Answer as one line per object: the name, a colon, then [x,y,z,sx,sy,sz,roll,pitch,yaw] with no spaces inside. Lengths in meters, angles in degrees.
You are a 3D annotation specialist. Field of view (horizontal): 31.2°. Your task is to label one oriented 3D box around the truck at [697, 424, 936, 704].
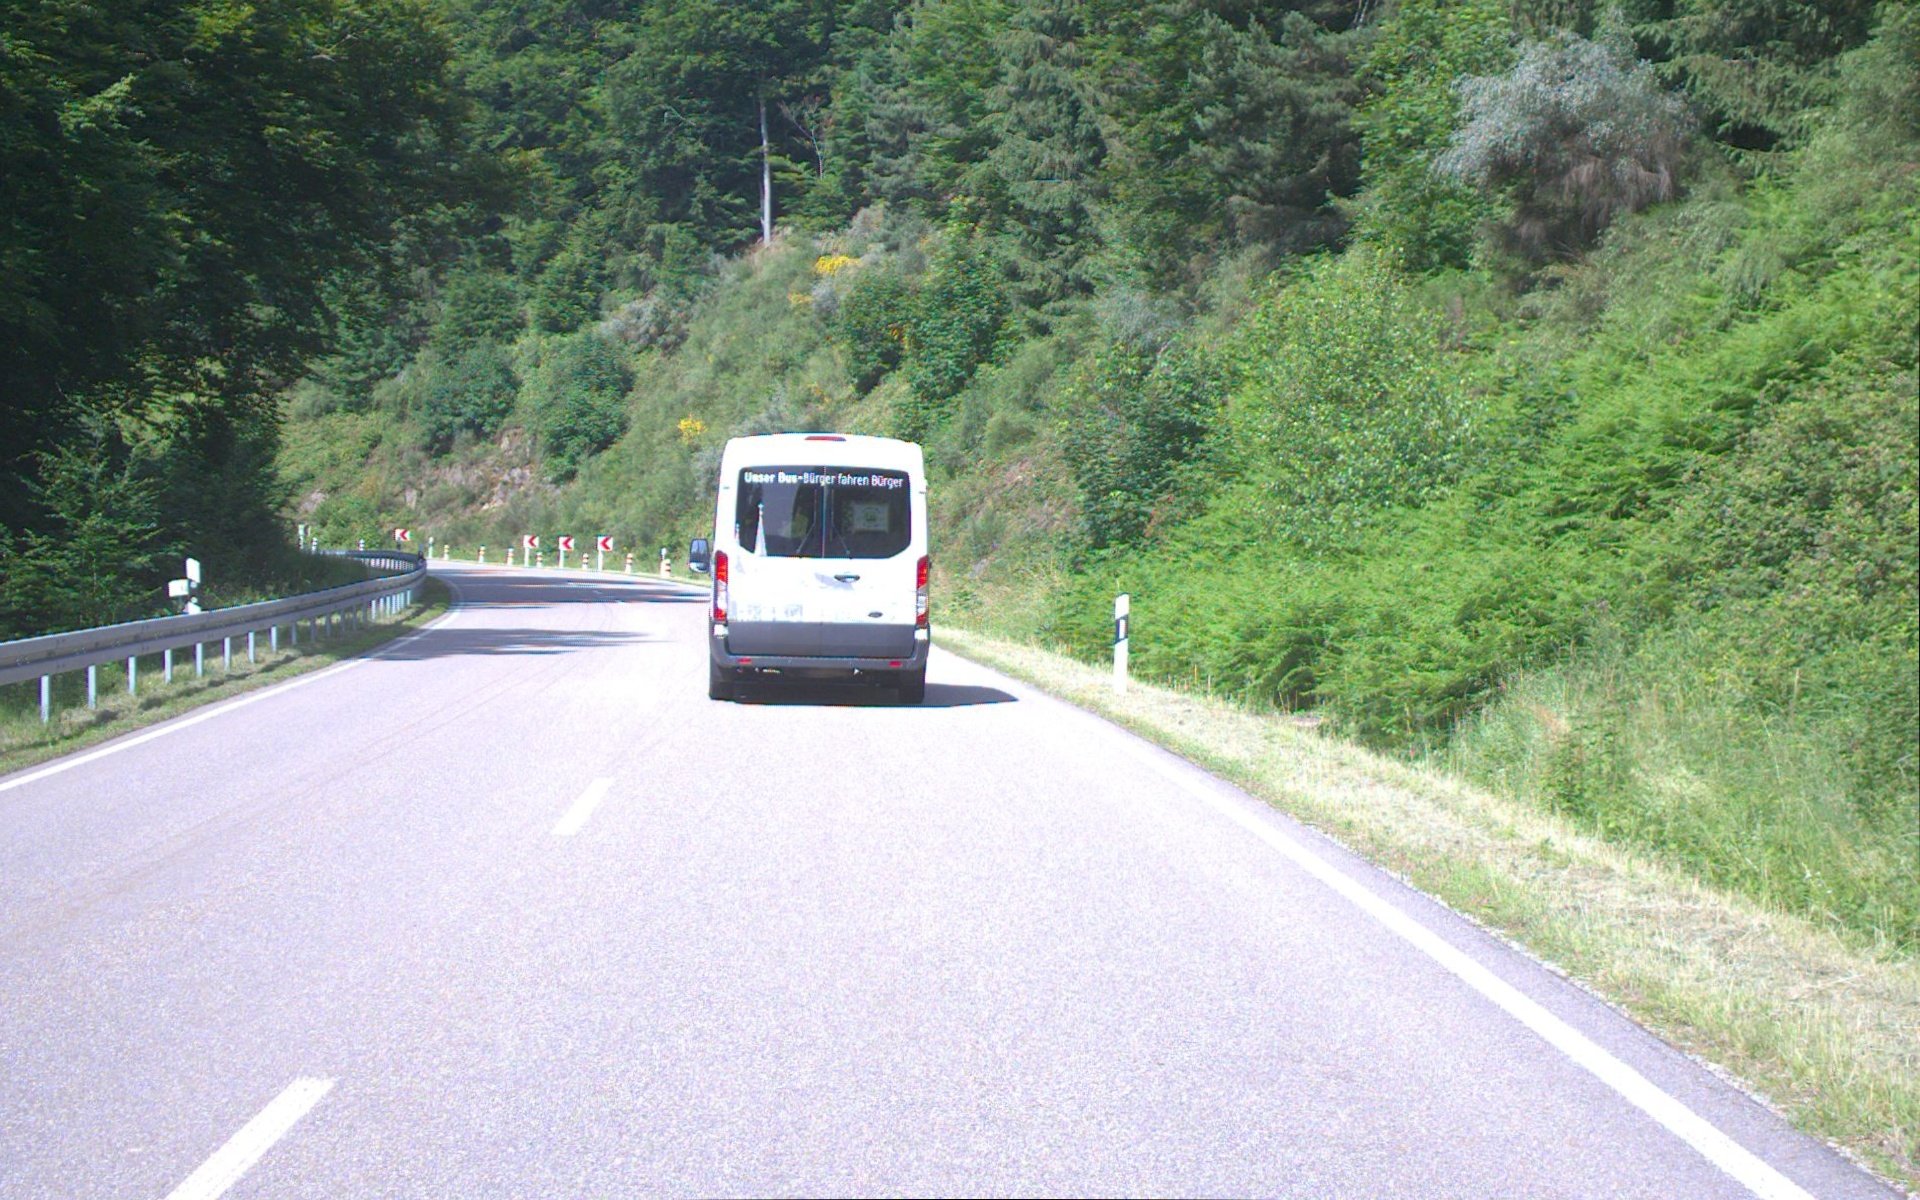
truck: [-1.395,-0.371,33.016,2.083,2.451,4.876,1,1,-3]
